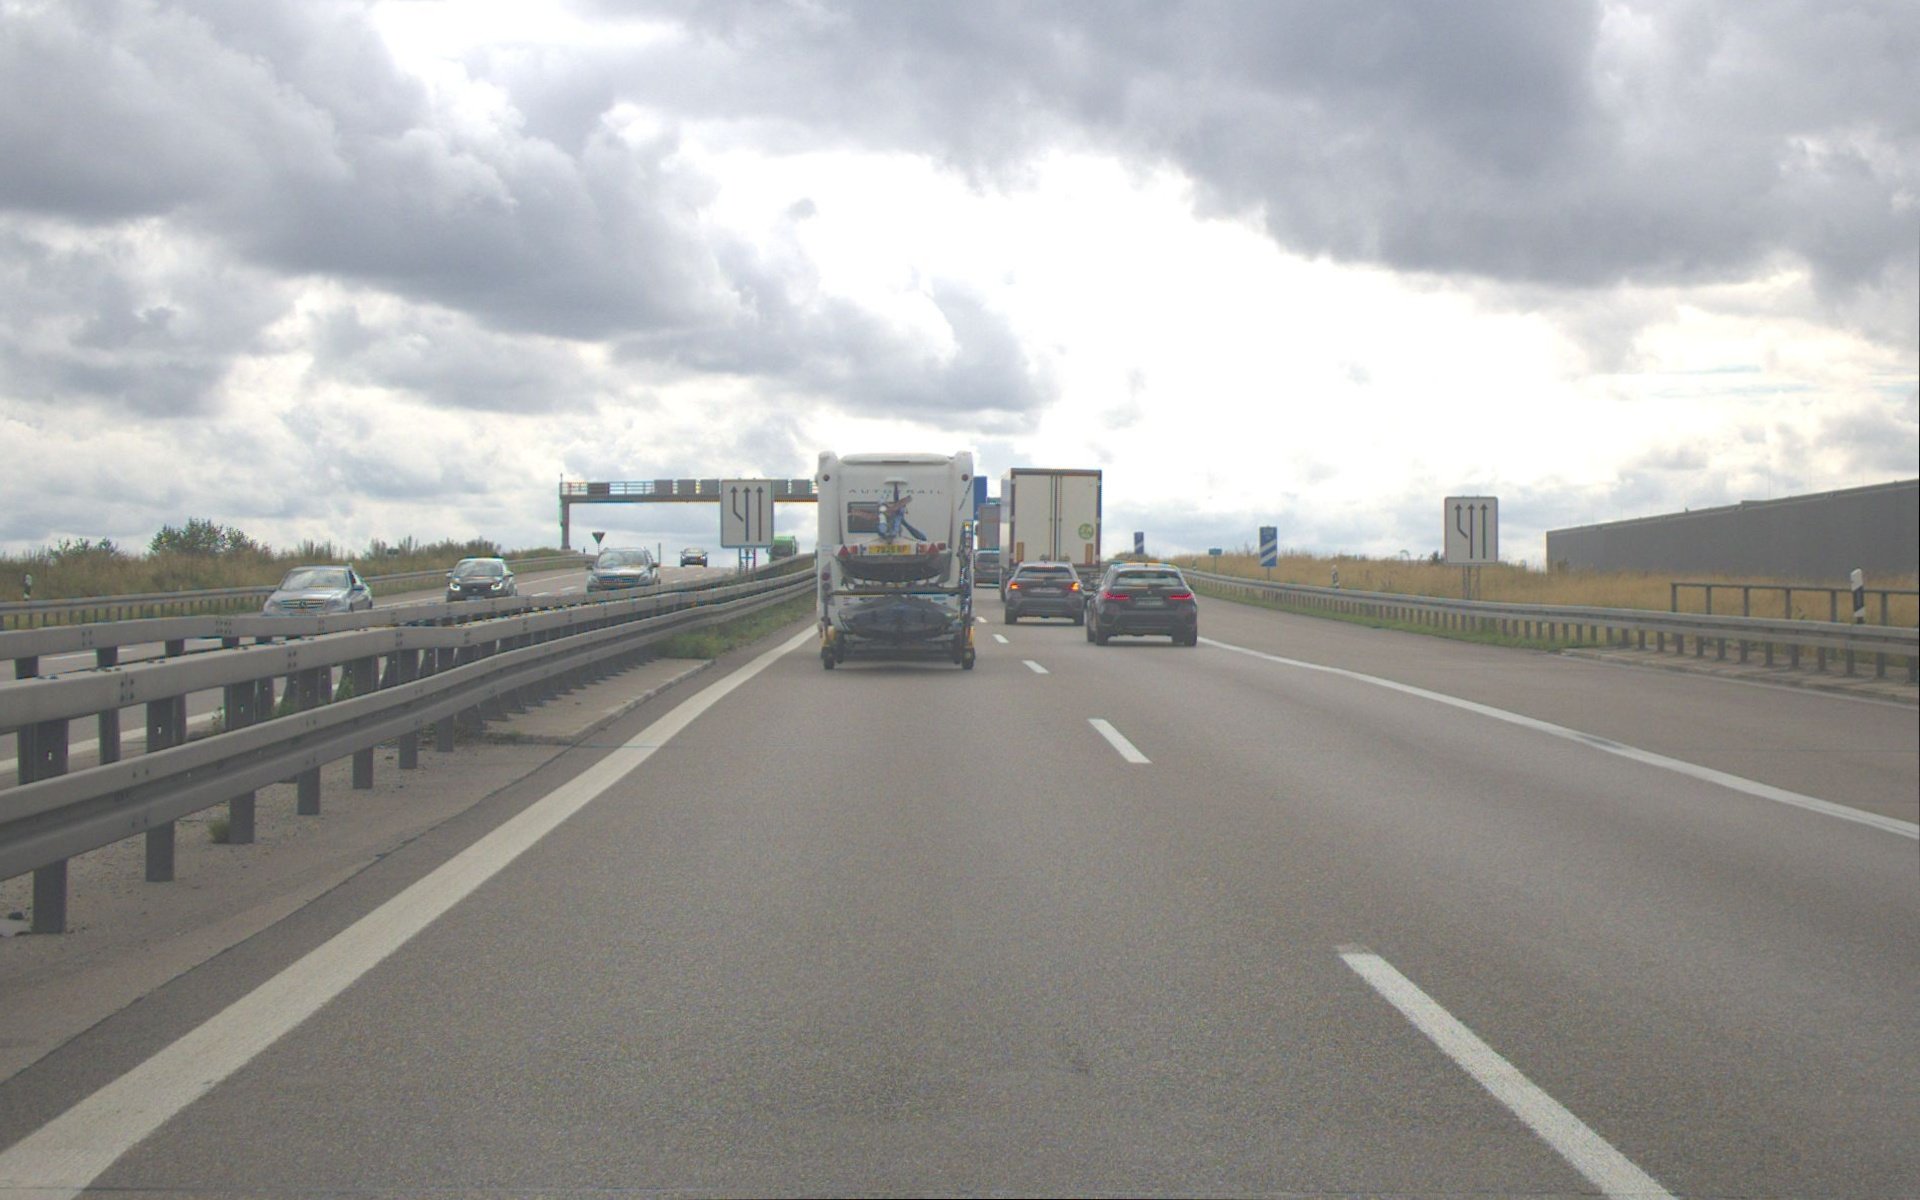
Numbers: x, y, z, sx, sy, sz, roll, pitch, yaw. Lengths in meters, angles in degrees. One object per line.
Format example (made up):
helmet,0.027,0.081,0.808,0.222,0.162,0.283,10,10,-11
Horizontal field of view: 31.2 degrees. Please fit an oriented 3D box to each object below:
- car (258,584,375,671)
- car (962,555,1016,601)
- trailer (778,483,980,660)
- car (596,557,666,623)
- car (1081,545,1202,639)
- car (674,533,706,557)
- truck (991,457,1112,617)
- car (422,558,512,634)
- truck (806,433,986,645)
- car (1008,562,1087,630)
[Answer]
car,-13.512,0.570,72.318,1.752,1.780,4.000,0,0,-1
car,1.119,-0.849,134.106,1.993,1.751,4.000,0,0,-1
trailer,-0.972,-0.342,43.560,2.338,2.129,4.000,0,0,2
car,-9.637,-0.288,100.934,1.713,1.893,4.000,0,0,-1
car,3.220,-0.133,61.712,1.882,1.615,4.000,0,0,-1
car,-19.045,-3.880,242.562,1.939,1.678,4.000,1,1,-1
truck,2.620,-1.776,100.654,3.246,4.510,7.066,0,0,-1
car,-13.324,-0.095,93.073,1.893,2.007,4.000,0,0,-1
truck,-0.894,-0.836,50.657,2.482,2.940,5.815,0,0,0
car,1.973,-0.077,78.408,1.691,1.515,4.000,0,0,0
